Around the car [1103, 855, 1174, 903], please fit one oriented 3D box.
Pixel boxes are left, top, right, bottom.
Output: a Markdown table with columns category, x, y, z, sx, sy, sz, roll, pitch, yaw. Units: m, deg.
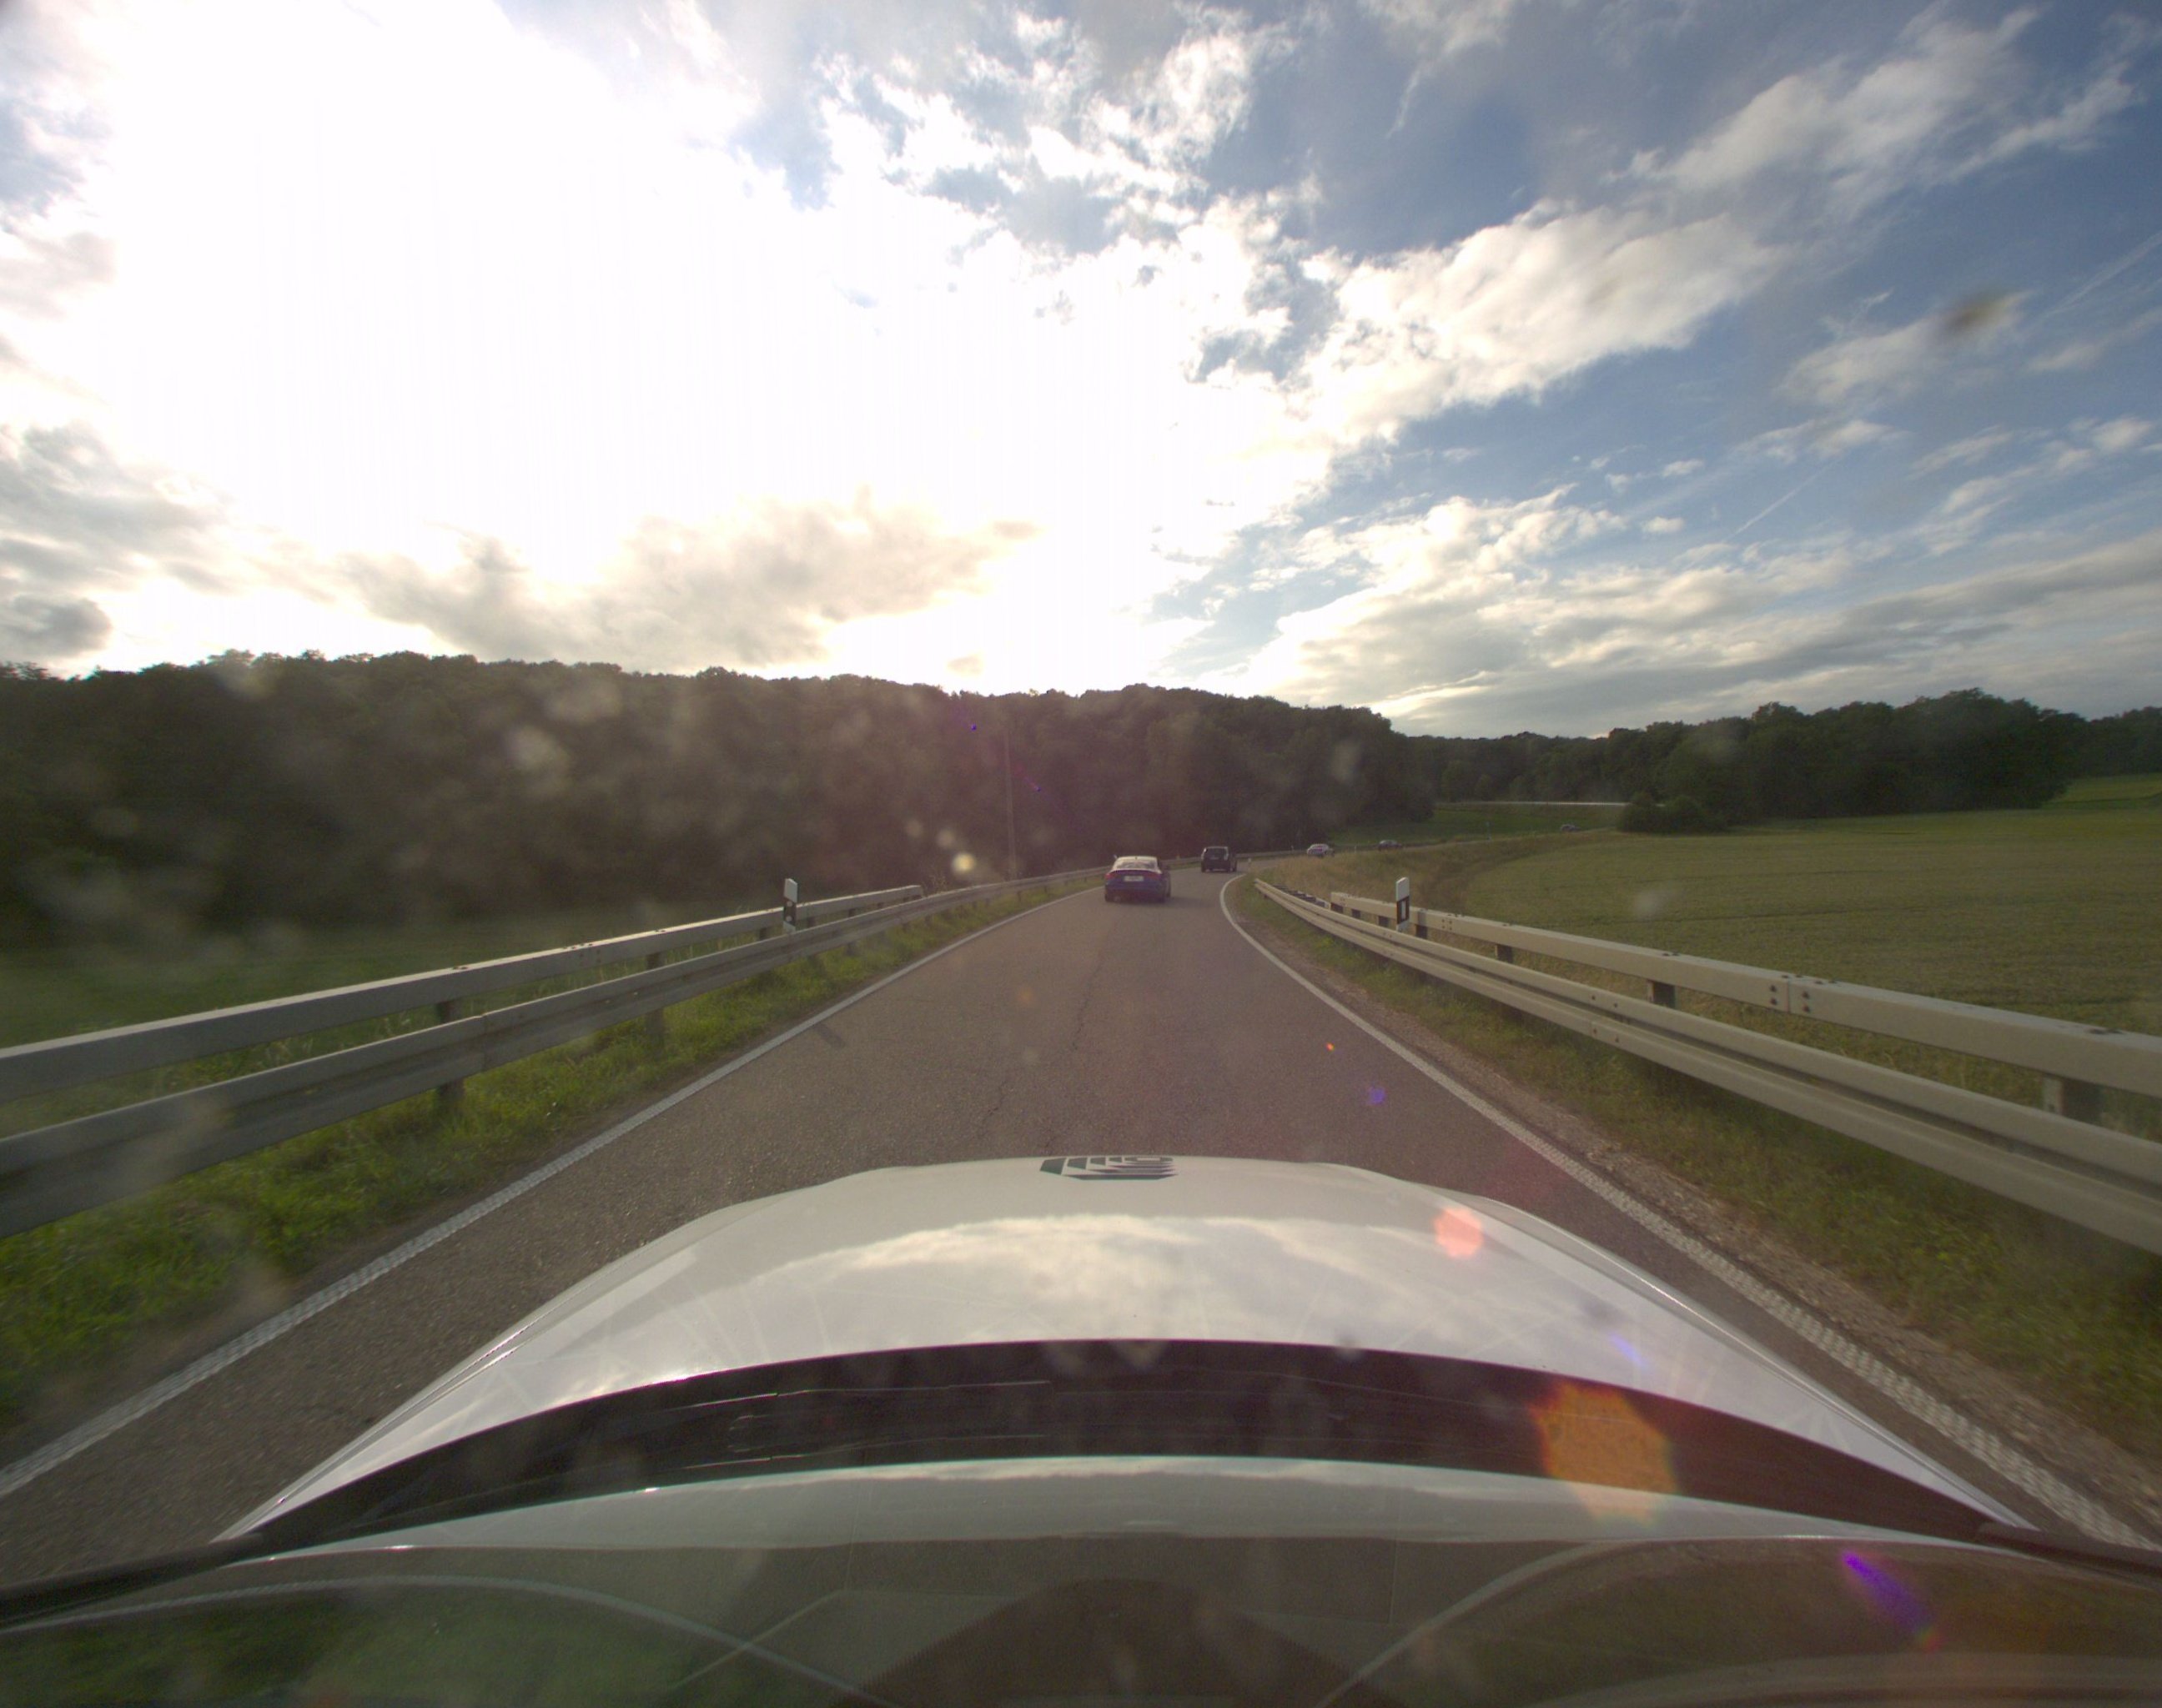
| category | x | y | z | sx | sy | sz | roll | pitch | yaw |
| --- | --- | --- | --- | --- | --- | --- | --- | --- | --- |
| car | 1.909 | 0.722 | 25.666 | 1.807 | 1.339 | 4.362 | 0 | 0 | 10 |

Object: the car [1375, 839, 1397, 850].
| category | x | y | z | sx | sy | sz | roll | pitch | yaw |
| --- | --- | --- | --- | --- | --- | --- | --- | --- | --- |
| car | 38.515 | -1.194 | 102.858 | 1.457 | 1.227 | 3.320 | -3 | -2 | 42 |

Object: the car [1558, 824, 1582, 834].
| category | x | y | z | sx | sy | sz | roll | pitch | yaw |
| --- | --- | --- | --- | --- | --- | --- | --- | --- | --- |
| car | 85.720 | -4.314 | 142.768 | 4.194 | 1.679 | 1.979 | -1 | 0 | -33 |

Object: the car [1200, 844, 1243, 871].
| category | x | y | z | sx | sy | sz | roll | pitch | yaw |
| --- | --- | --- | --- | --- | --- | --- | --- | --- | --- |
| car | 8.938 | 0.173 | 51.576 | 1.846 | 1.568 | 4.021 | 2 | 1 | 22 |

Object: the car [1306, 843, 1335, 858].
| category | x | y | z | sx | sy | sz | roll | pitch | yaw |
| --- | --- | --- | --- | --- | --- | --- | --- | --- | --- |
| car | 24.873 | -0.383 | 84.401 | 1.666 | 1.376 | 4.026 | -3 | 0 | 34 |
